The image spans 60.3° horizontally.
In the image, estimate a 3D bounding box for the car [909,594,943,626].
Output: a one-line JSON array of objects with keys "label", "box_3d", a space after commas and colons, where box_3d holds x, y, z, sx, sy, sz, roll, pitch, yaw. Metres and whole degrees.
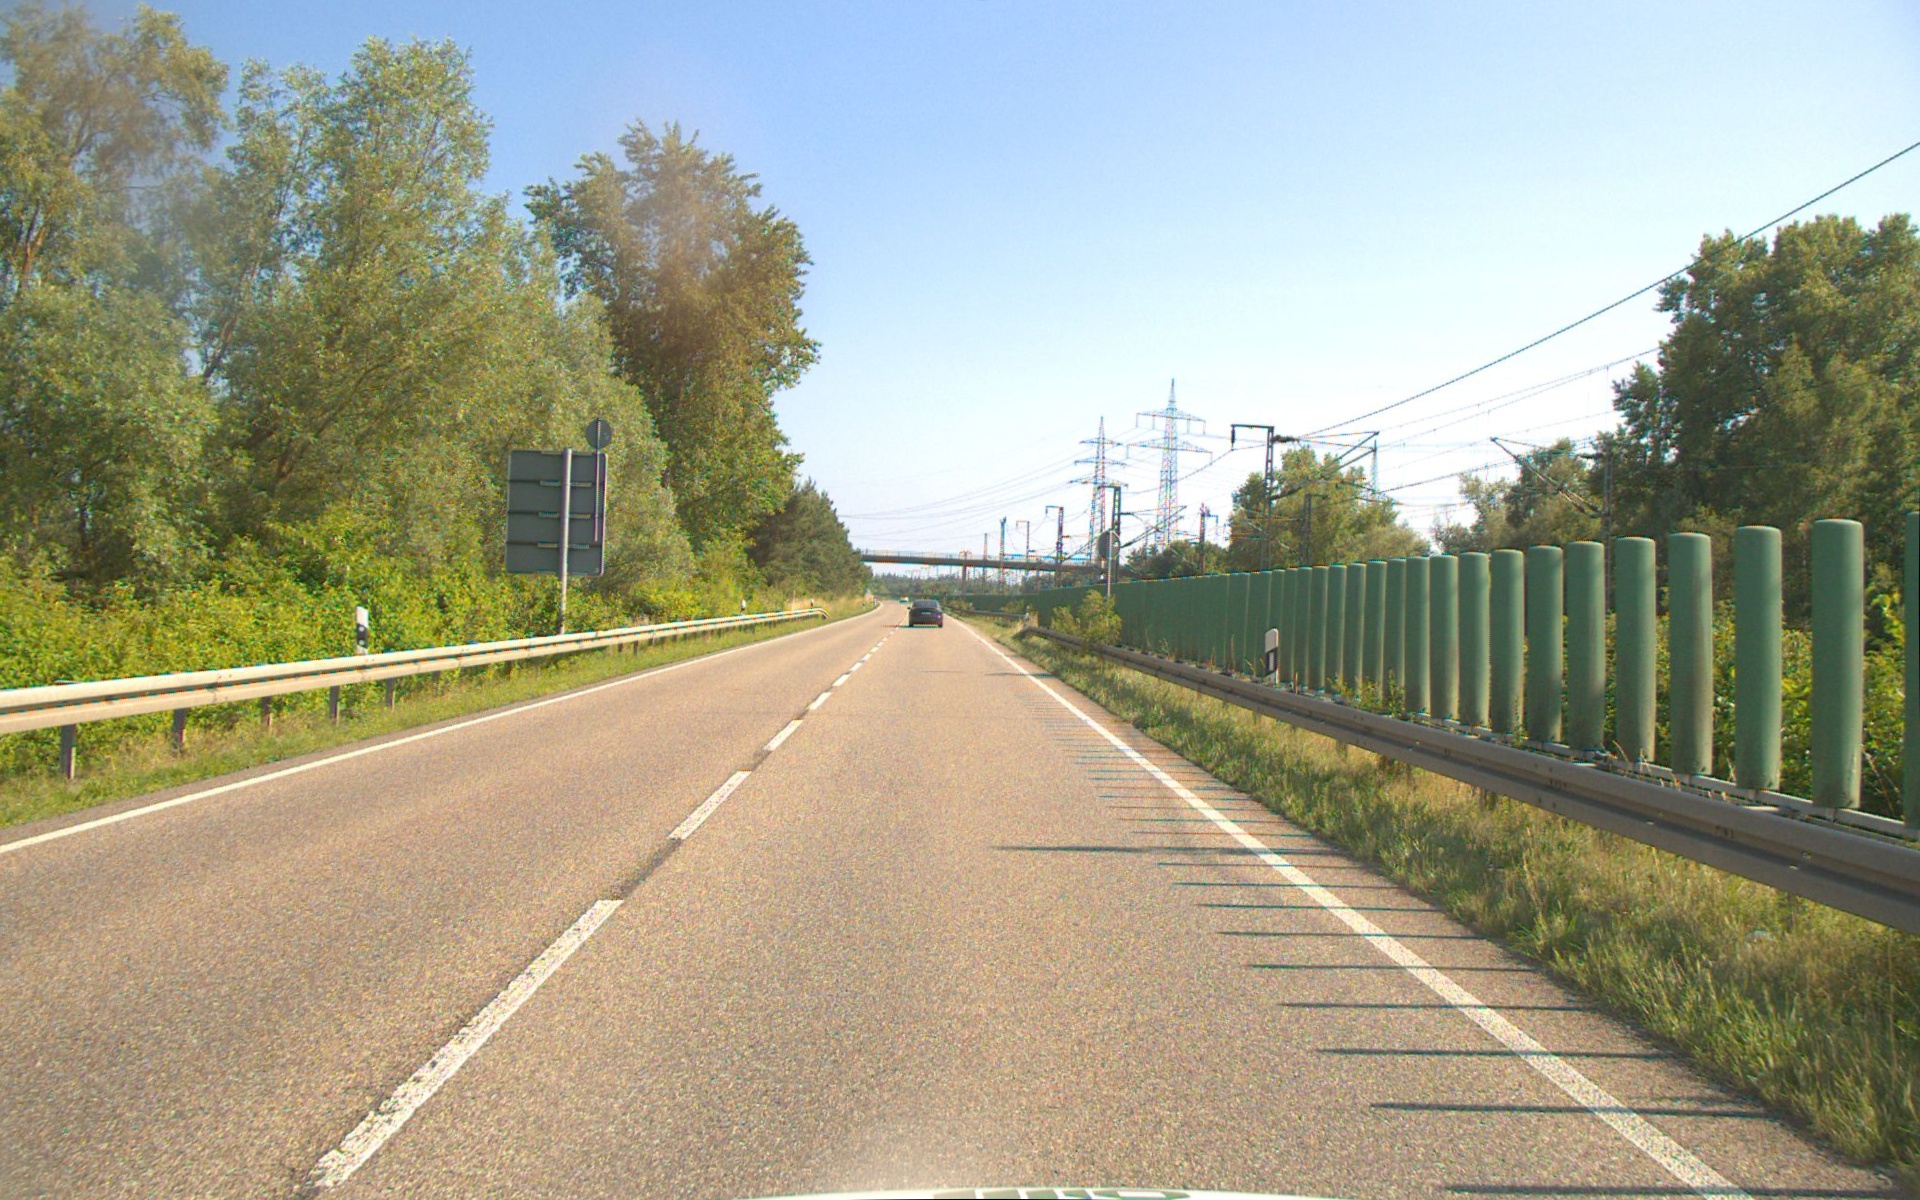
[{"label": "car", "box_3d": [-1.845, 0.506, 88.771, 1.821, 1.670, 3.999, 0, 0, -2]}]
